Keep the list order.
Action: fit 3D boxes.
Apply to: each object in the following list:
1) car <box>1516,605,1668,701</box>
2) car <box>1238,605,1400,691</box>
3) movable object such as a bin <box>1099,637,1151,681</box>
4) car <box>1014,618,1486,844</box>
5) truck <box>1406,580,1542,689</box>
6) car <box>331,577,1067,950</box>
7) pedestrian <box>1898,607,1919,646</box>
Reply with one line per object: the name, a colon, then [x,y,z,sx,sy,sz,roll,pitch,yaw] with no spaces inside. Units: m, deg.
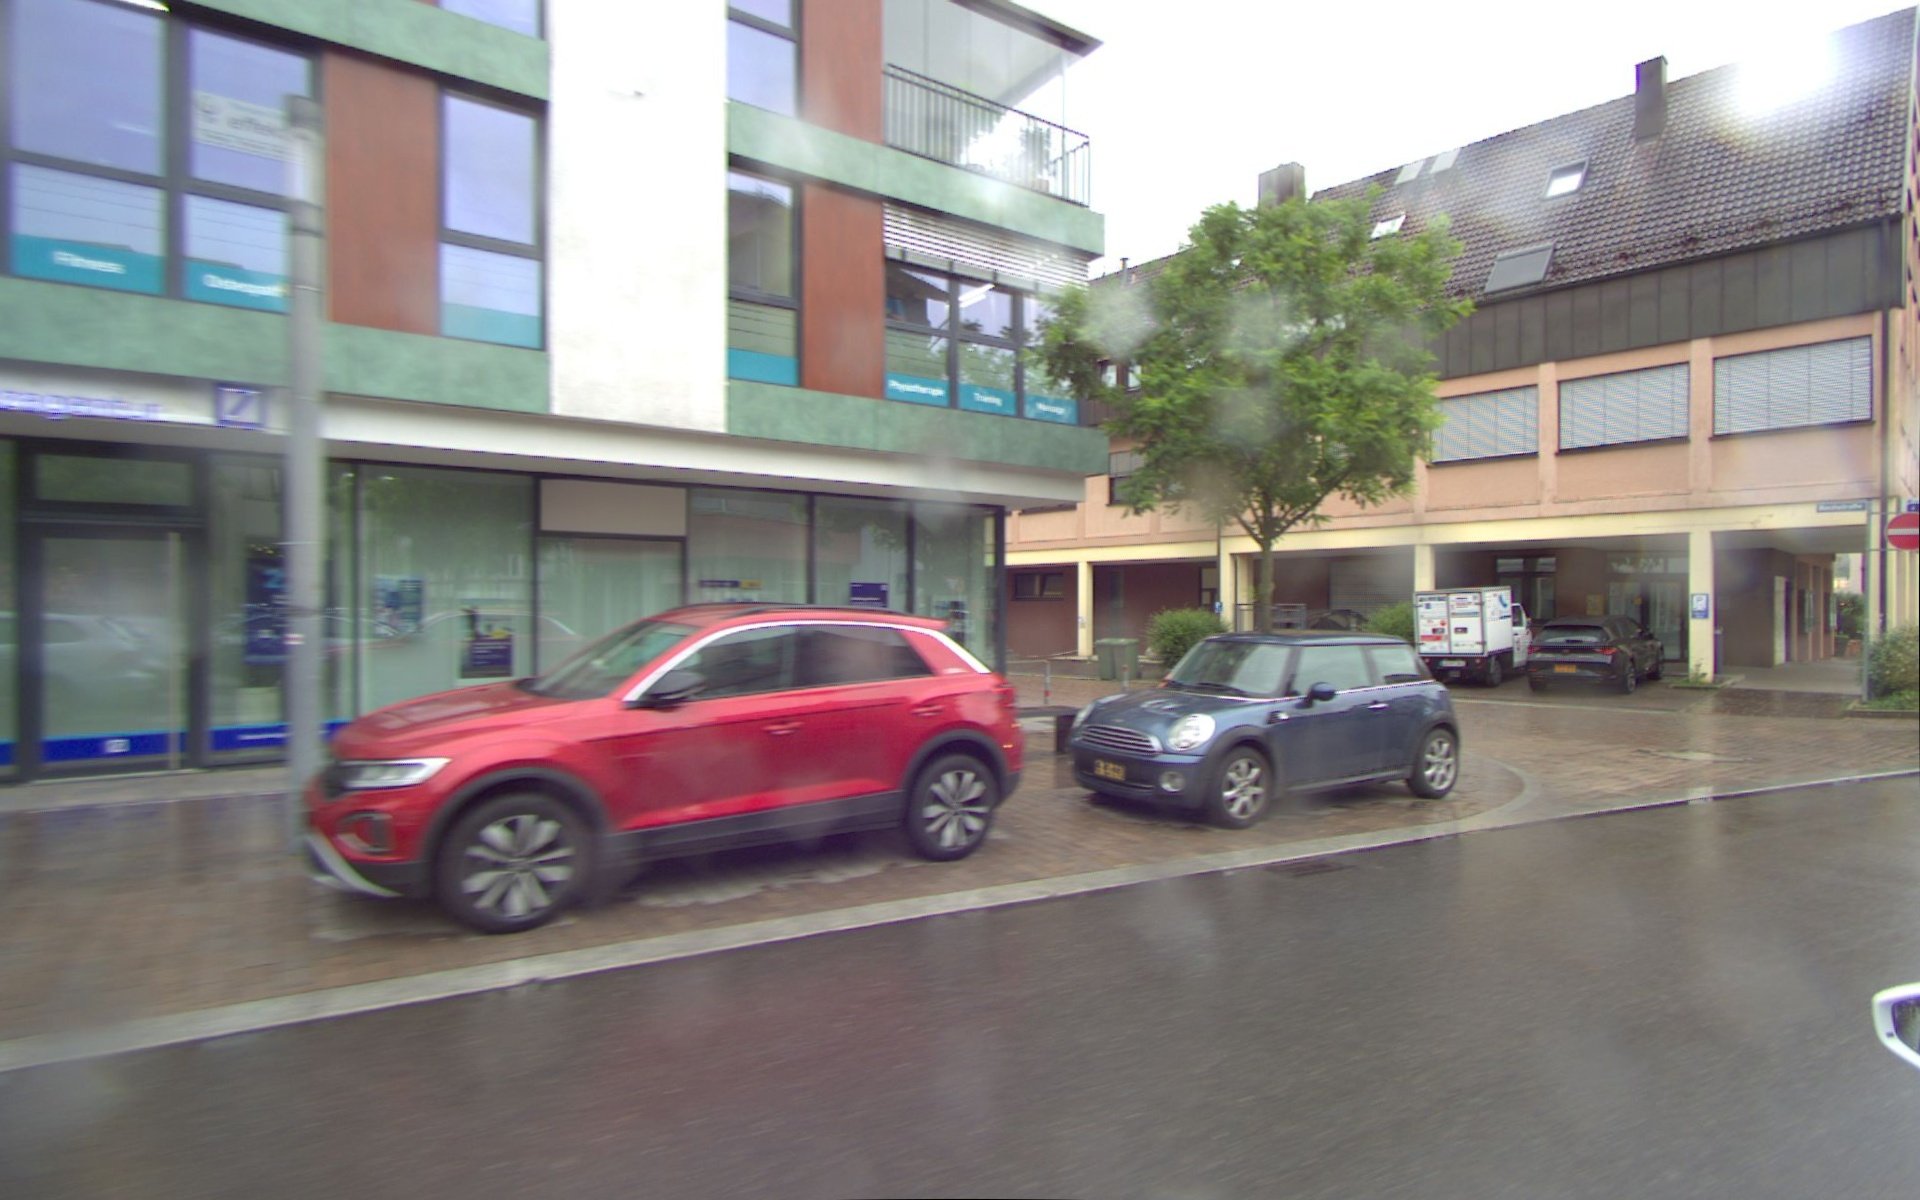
car: [12.744,0.981,20.173,3.792,1.499,1.564,-5,3,-41]
car: [8.669,1.067,24.111,3.963,1.640,1.798,-5,3,-38]
movable object such as a bin: [4.459,1.583,27.230,0.914,1.111,0.994,-4,0,-33]
car: [2.527,0.926,8.503,3.867,1.477,1.705,1,0,-32]
truck: [11.366,0.721,22.156,3.168,2.090,1.583,-5,1,-42]
car: [-1.450,0.770,6.221,4.066,1.597,1.775,2,-2,-35]
pedestrian: [50.554,1.411,53.505,0.824,2.040,0.849,0,-1,41]
